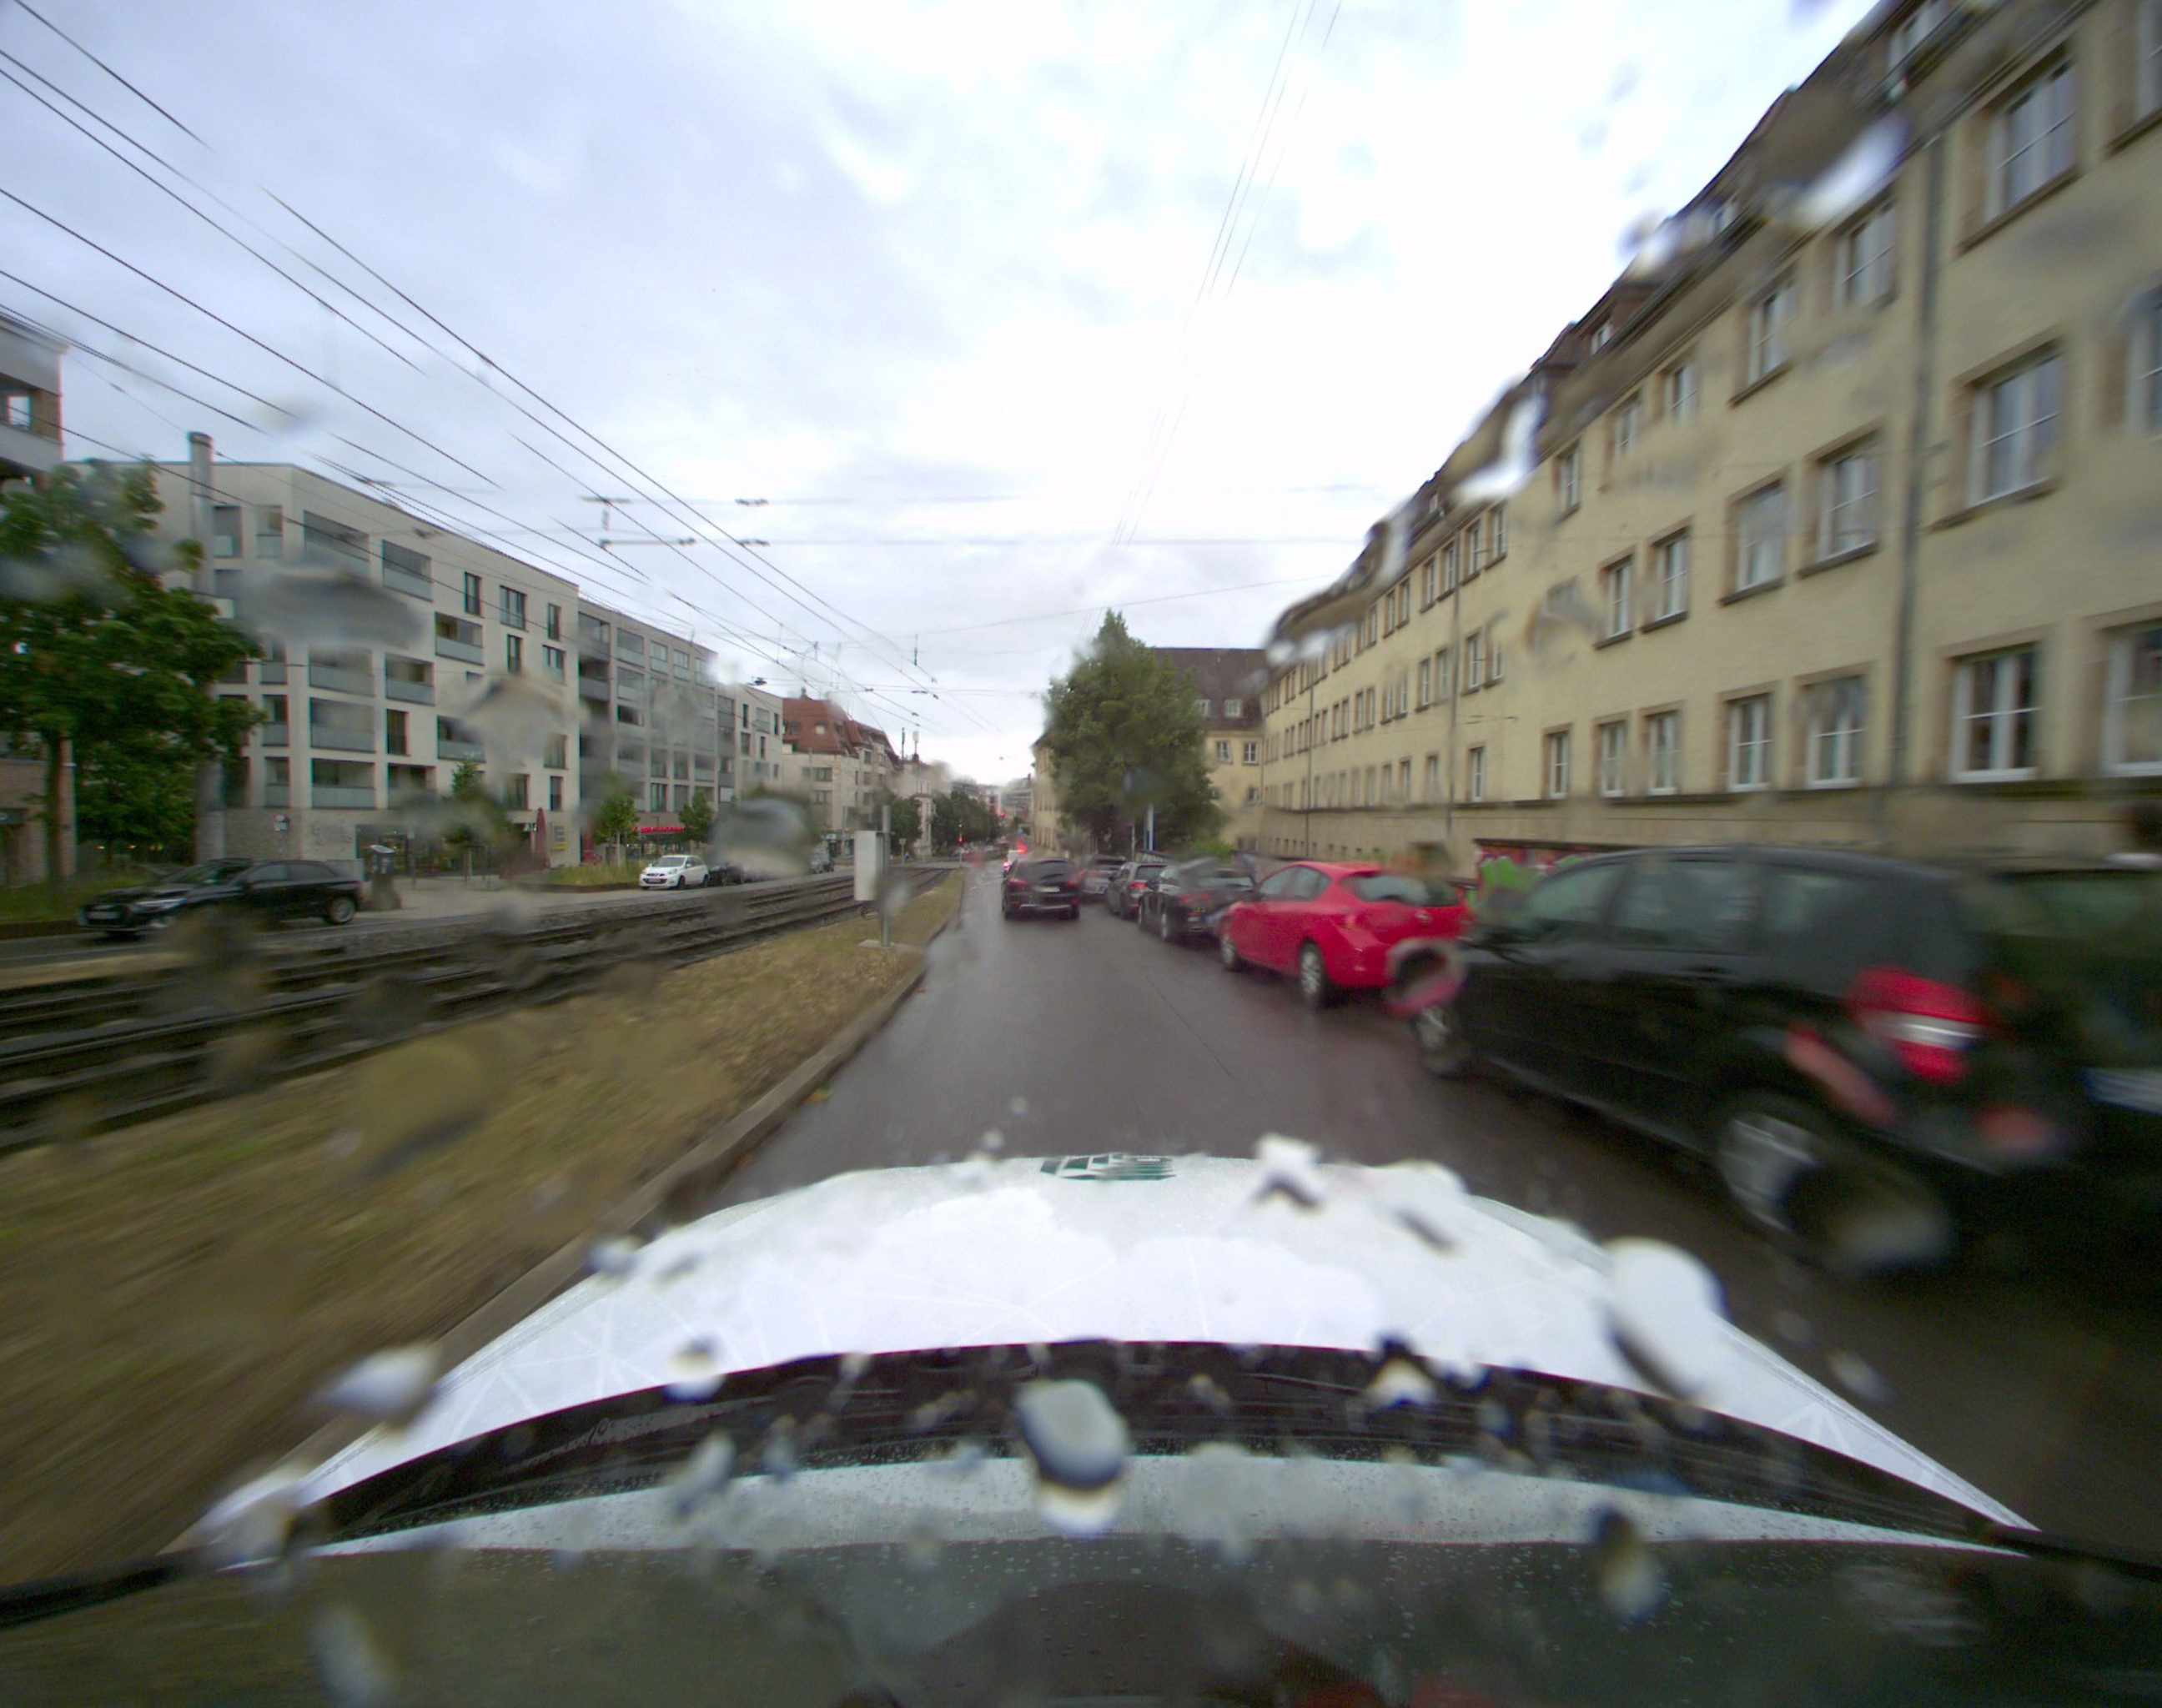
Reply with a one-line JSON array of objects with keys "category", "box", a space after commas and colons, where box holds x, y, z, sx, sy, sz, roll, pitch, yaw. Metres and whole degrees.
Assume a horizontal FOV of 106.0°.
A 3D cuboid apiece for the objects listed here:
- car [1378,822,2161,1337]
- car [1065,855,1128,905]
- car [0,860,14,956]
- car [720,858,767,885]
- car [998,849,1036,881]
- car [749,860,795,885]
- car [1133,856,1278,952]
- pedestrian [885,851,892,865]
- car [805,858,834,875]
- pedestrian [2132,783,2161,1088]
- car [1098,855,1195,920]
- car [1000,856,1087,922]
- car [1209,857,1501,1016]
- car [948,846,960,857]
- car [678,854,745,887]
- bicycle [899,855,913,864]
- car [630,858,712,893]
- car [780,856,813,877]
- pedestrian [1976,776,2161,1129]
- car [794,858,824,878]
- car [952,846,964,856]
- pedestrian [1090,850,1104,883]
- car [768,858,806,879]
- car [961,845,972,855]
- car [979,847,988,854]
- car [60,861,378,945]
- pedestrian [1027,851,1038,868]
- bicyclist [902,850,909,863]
[{"category": "car", "box": [3.328, 0.689, 4.515, 1.663, 1.573, 3.848, -1, 0, -5]}, {"category": "car", "box": [0.448, 0.794, 27.092, 1.663, 1.524, 4.102, -1, 0, -5]}, {"category": "car", "box": [-17.674, 0.824, 10.681, 1.732, 1.489, 4.255, 1, 0, -1]}, {"category": "car", "box": [-18.958, 0.943, 45.884, 1.547, 1.435, 3.442, 0, 0, -7]}, {"category": "car", "box": [-3.701, 0.582, 47.533, 2.132, 1.745, 4.213, 0, 0, -4]}, {"category": "car", "box": [-19.274, 1.132, 50.995, 1.718, 1.513, 4.308, 0, 0, -7]}, {"category": "car", "box": [2.120, 0.797, 15.150, 1.663, 1.476, 4.450, -1, 0, -5]}, {"category": "pedestrian", "box": [-26.773, 0.591, 113.447, 0.905, 1.932, 0.822, 0, 0, -12]}, {"category": "car", "box": [-23.112, 1.095, 72.128, 1.913, 1.504, 4.220, 0, 0, -11]}, {"category": "pedestrian", "box": [6.556, 0.466, 4.424, 0.714, 1.754, 0.740, -1, 0, 4]}, {"category": "car", "box": [1.575, 0.785, 21.069, 1.664, 1.476, 4.098, -1, 0, -8]}, {"category": "car", "box": [-1.054, 0.805, 20.796, 1.918, 1.479, 3.990, 0, 0, -7]}, {"category": "car", "box": [2.955, 0.783, 9.785, 1.665, 1.476, 4.054, 0, 0, -9]}, {"category": "car", "box": [-25.113, -0.508, 161.324, 1.989, 2.013, 3.996, 0, 0, -3]}, {"category": "car", "box": [-18.321, 0.783, 40.576, 1.764, 1.561, 4.394, 0, 0, -7]}, {"category": "bicycle", "box": [-22.435, 0.738, 104.376, 1.813, 1.064, 0.452, 1, 0, -45]}, {"category": "car", "box": [-18.134, 0.909, 36.180, 1.760, 1.479, 3.733, 0, 0, -1]}, {"category": "car", "box": [-21.183, 0.909, 60.660, 1.773, 1.504, 3.906, 0, 0, -11]}, {"category": "pedestrian", "box": [5.626, 0.488, 4.414, 0.714, 1.754, 0.740, -1, 0, 4]}, {"category": "car", "box": [-21.779, 1.087, 65.366, 1.773, 1.504, 4.068, 0, 0, -11]}, {"category": "car", "box": [-25.252, -0.627, 167.627, 1.989, 2.013, 3.996, 0, 0, -3]}, {"category": "pedestrian", "box": [0.857, 0.674, 44.037, 0.631, 1.721, 0.709, 0, -1, -7]}, {"category": "car", "box": [-20.242, 0.954, 56.171, 1.547, 1.362, 4.000, 1, 0, -7]}, {"category": "car", "box": [-24.381, -0.854, 174.079, 1.989, 2.013, 3.996, 0, 0, -3]}, {"category": "car", "box": [-23.725, -0.822, 198.249, 1.989, 1.662, 3.996, 0, 0, -3]}, {"category": "car", "box": [-17.243, 0.893, 16.680, 1.959, 1.431, 4.200, 1, 0, 1]}, {"category": "pedestrian", "box": [-4.967, 0.546, 83.698, 1.045, 1.795, 0.899, 0, 0, -10]}, {"category": "bicyclist", "box": [-22.516, 0.316, 104.297, 0.706, 1.574, 0.457, 1, -1, -44]}]
